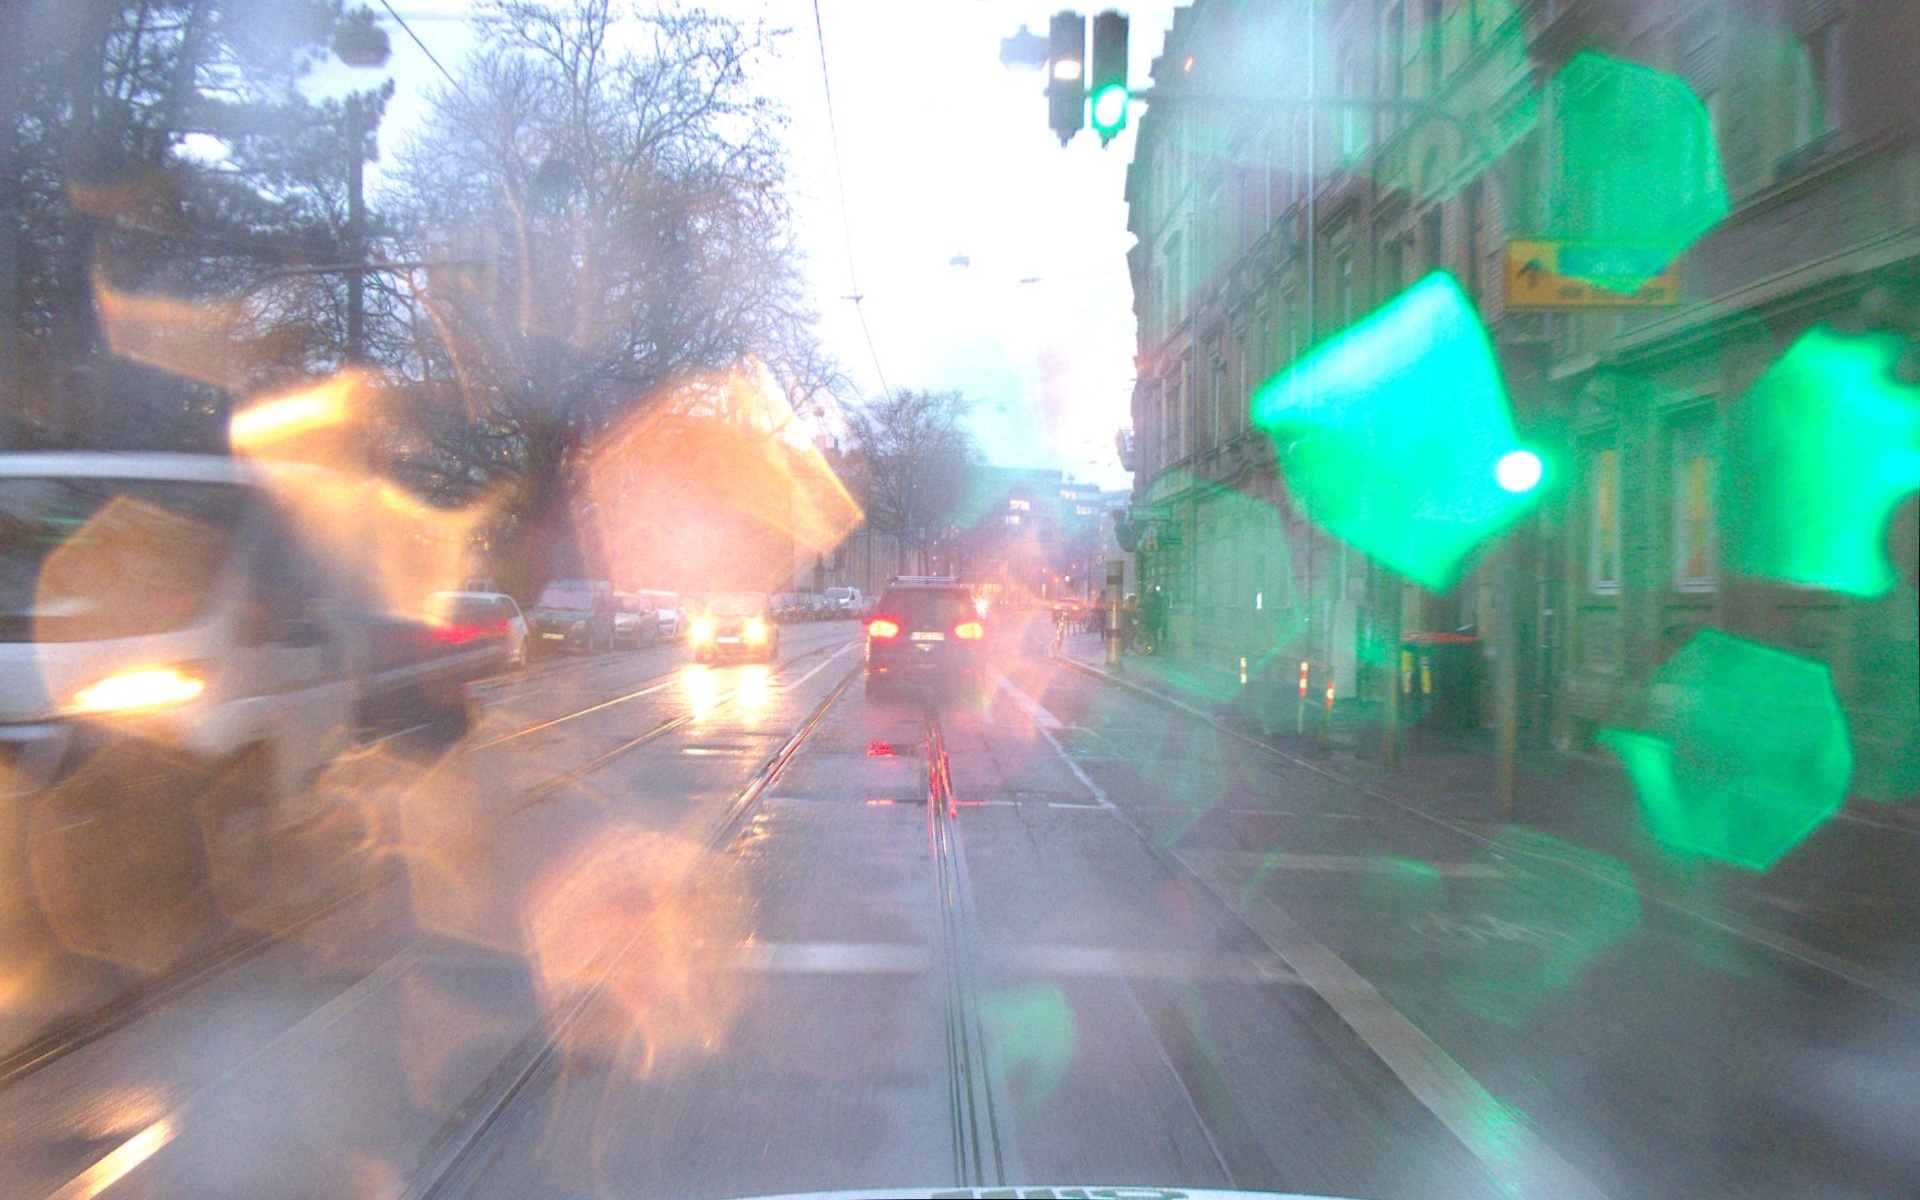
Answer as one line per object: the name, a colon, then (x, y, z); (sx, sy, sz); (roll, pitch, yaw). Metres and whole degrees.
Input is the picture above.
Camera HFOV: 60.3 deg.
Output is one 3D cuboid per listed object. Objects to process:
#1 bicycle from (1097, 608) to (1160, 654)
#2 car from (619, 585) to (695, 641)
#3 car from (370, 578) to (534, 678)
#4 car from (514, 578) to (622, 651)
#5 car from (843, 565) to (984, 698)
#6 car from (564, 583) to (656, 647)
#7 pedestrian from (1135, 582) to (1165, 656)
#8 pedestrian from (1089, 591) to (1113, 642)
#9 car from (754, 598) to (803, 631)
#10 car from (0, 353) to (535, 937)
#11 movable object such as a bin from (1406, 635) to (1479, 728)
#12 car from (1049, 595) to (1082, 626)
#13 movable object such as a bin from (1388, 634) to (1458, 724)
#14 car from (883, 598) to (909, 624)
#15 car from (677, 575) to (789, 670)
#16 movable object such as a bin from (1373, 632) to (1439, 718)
bicycle: (4.507, 0.824, 44.496); (0.781, 1.164, 2.230); (2, -1, -20)
car: (-9.526, 0.397, 52.284); (1.945, 1.644, 4.424); (2, -1, -5)
car: (-9.166, 0.495, 30.219); (1.945, 1.644, 4.424); (2, -1, -5)
car: (-9.528, 0.345, 40.512); (1.945, 1.644, 4.424); (2, -1, -5)
car: (-0.638, 0.461, 25.785); (1.952, 1.874, 4.001); (1, 0, 1)
car: (-9.581, 0.411, 45.571); (1.945, 1.644, 4.424); (2, -1, -5)
pedestrian: (5.134, 0.511, 44.723); (0.701, 1.987, 0.657); (1, -1, -1)
pedestrian: (5.087, 0.590, 59.904); (0.756, 1.806, 0.684); (1, -1, -2)
car: (-9.787, 0.784, 89.305); (1.943, 1.644, 4.430); (1, -1, 2)
car: (-4.403, 0.206, 9.674); (2.397, 2.388, 5.843); (0, -1, -1)
movable object such as a bin: (5.792, 0.973, 19.875); (0.627, 1.073, 0.744); (1, -1, -1)
car: (6.782, 0.673, 106.740); (1.952, 1.874, 4.000); (1, 0, 1)
movable object such as a bin: (5.773, 0.979, 20.643); (0.627, 1.073, 0.744); (1, -1, -1)
car: (-5.091, 0.886, 132.088); (1.953, 2.049, 3.999); (2, -1, -1)
car: (-5.231, 0.506, 38.585); (1.952, 2.049, 4.000); (1, -1, 1)
movable object such as a bin: (5.763, 0.961, 21.407); (0.627, 1.073, 0.744); (1, -1, -1)
